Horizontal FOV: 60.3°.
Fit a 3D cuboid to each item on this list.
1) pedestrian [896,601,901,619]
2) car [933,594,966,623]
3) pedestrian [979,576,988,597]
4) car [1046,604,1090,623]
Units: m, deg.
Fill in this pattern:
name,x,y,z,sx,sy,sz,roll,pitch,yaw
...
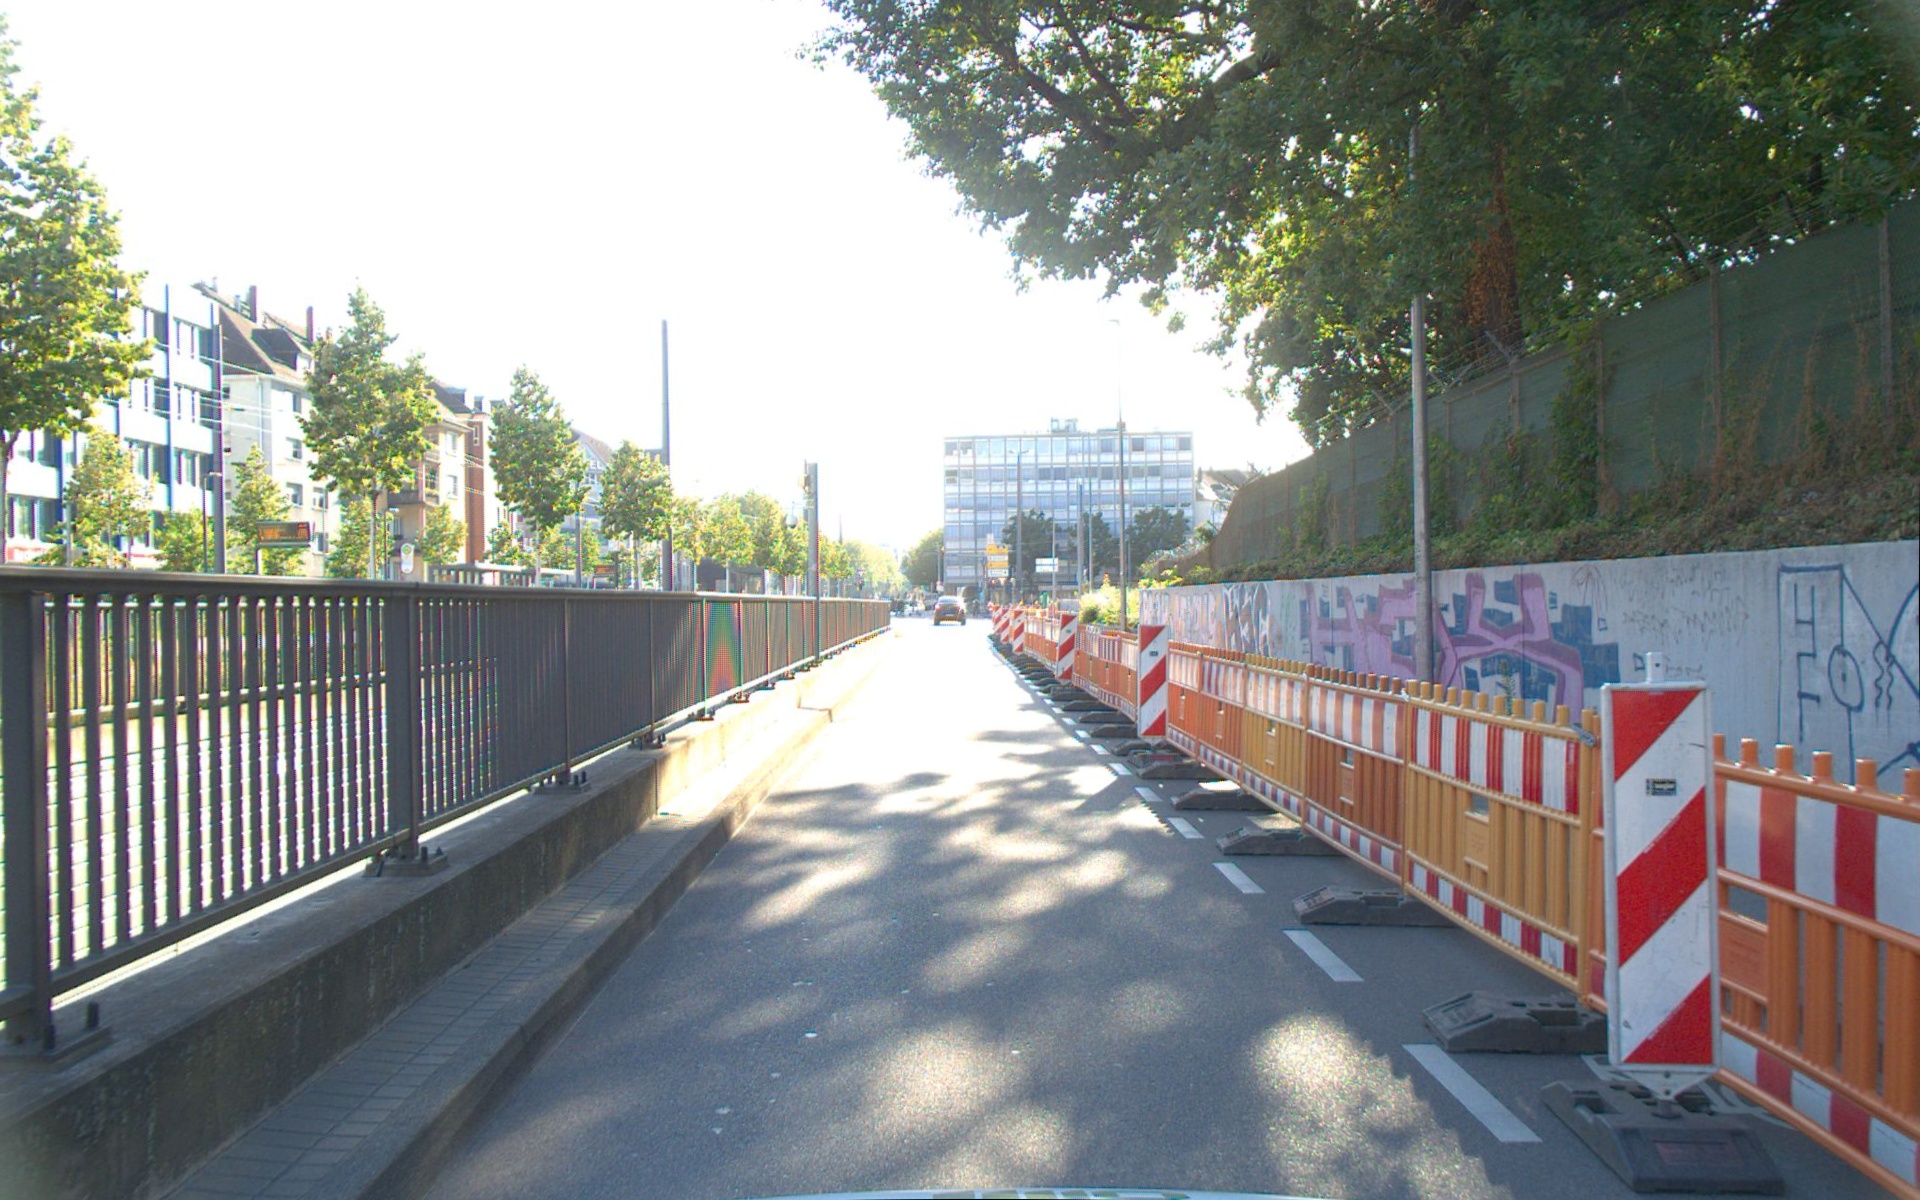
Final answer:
name,x,y,z,sx,sy,sz,roll,pitch,yaw
pedestrian,-5.443,0.859,146.956,0.272,1.602,0.436,2,-1,-27
car,-0.634,0.537,102.913,1.964,1.688,4.000,1,-1,0
pedestrian,2.401,-1.362,170.533,0.873,2.149,0.718,0,0,4
car,9.935,1.277,152.076,3.902,1.669,2.001,1,-1,8
